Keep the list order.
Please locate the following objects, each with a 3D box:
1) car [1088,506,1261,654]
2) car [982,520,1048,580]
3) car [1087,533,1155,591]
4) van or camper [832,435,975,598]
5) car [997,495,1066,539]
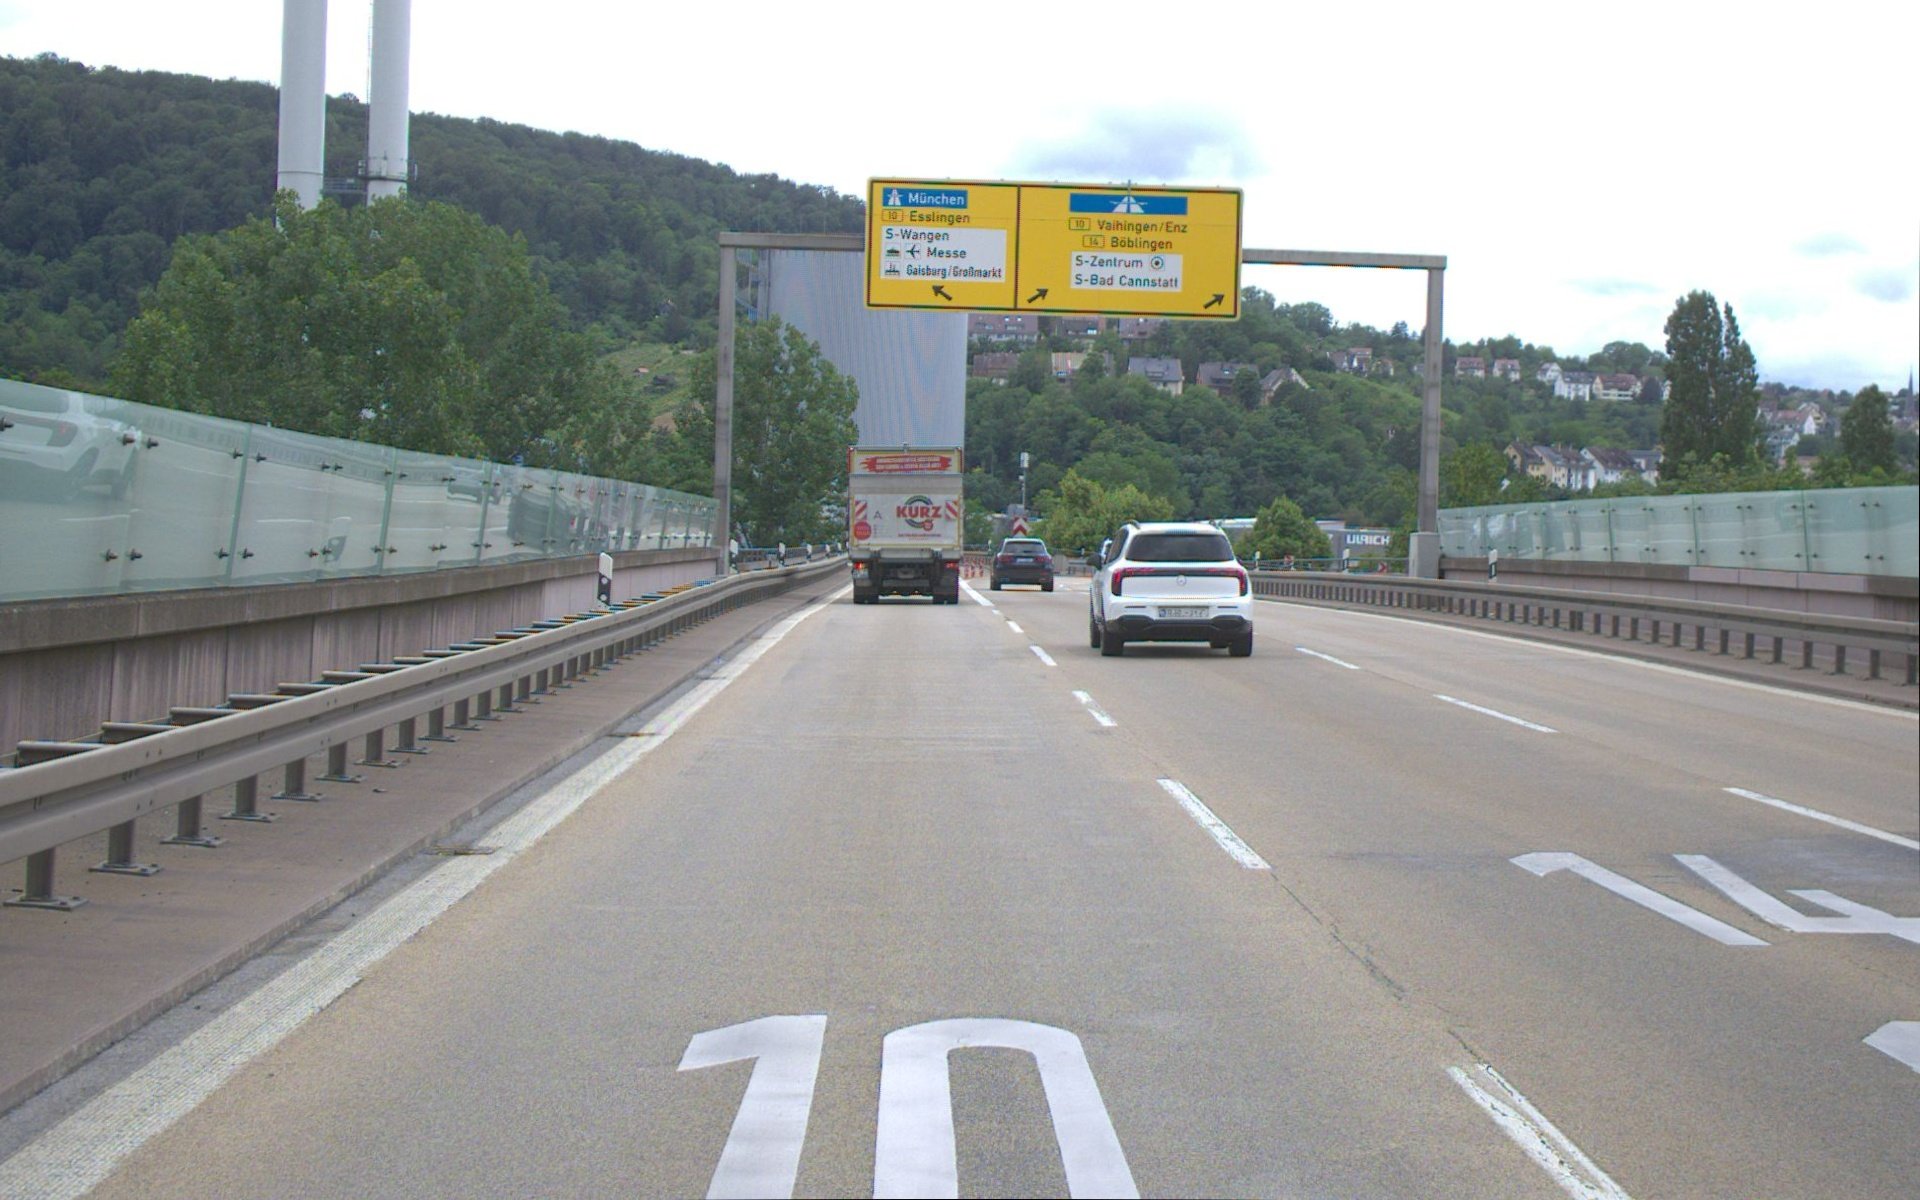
[{"bbox_3d":[2.675,-0.292,43.748,1.924,1.779,4.113,1,1,0],"label":"car"},{"bbox_3d":[1.683,-1.564,106.272,1.924,1.779,4.113,1,1,0],"label":"car"},{"bbox_3d":[5.169,-1.247,110.809,1.924,1.779,4.113,1,1,0],"label":"car"},{"bbox_3d":[-1.227,-1.914,80.118,3.122,3.567,8.550,0,1,0],"label":"van or camper"},{"bbox_3d":[3.245,-3.746,155.617,2.474,1.973,5.158,1,1,9],"label":"car"}]
